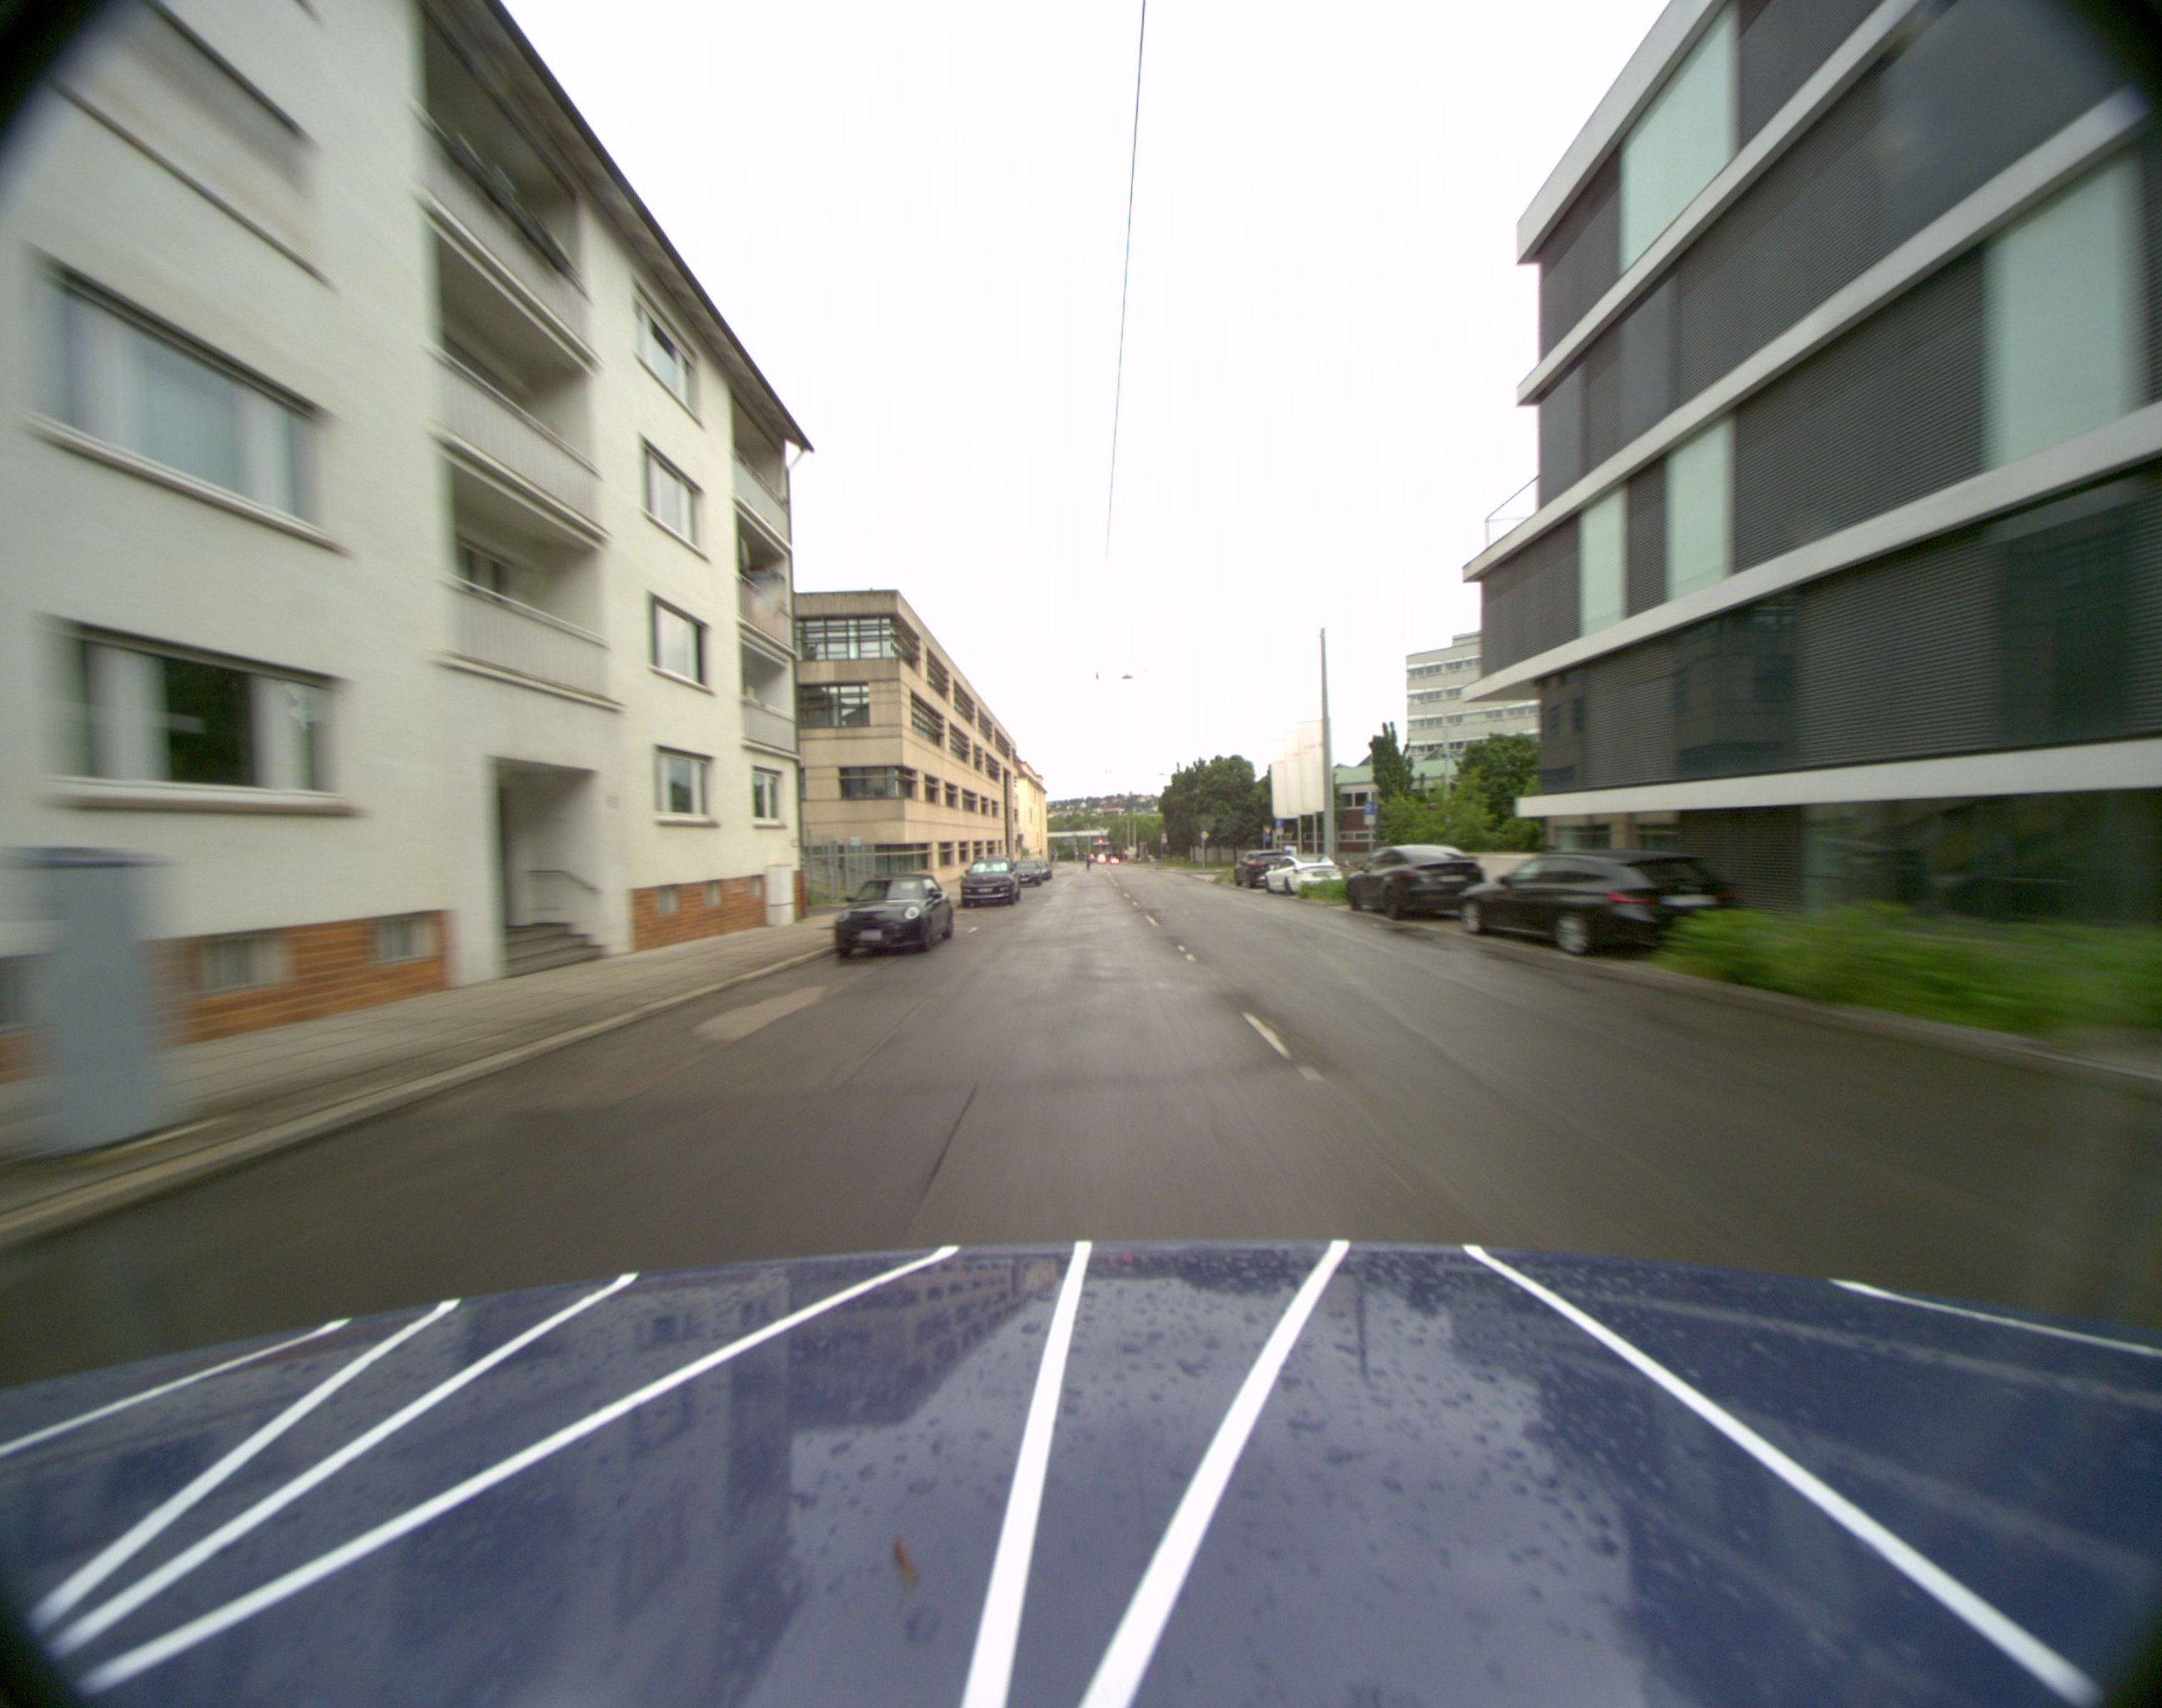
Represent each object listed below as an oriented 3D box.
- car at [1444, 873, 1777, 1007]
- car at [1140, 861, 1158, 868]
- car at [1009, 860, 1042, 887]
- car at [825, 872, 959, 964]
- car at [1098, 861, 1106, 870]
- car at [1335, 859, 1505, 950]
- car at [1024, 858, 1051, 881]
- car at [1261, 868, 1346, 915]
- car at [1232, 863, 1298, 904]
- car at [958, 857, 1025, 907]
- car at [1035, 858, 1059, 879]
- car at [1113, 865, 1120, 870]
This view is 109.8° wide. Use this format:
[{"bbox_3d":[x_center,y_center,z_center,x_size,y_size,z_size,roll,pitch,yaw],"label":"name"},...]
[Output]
[{"bbox_3d":[7.694,1.132,11.784,1.876,1.464,4.740,-2,0,1],"label":"car"},{"bbox_3d":[16.787,2.610,186.957,1.872,1.600,4.515,-2,0,-33],"label":"car"},{"bbox_3d":[-3.358,1.164,46.748,1.748,1.524,4.319,-1,0,-1],"label":"car"},{"bbox_3d":[-3.624,1.176,15.225,1.677,1.451,3.764,-2,0,0],"label":"car"},{"bbox_3d":[6.102,3.405,217.176,1.988,2.514,5.631,0,0,-1],"label":"car"},{"bbox_3d":[7.683,1.043,17.865,1.967,1.740,4.942,-2,0,3],"label":"car"},{"bbox_3d":[-3.248,1.150,57.936,1.730,1.503,4.057,-3,1,0],"label":"car"},{"bbox_3d":[7.983,1.306,27.638,1.825,1.410,4.402,-2,0,1],"label":"car"},{"bbox_3d":[8.177,1.272,34.162,1.854,1.608,4.491,-2,0,1],"label":"car"},{"bbox_3d":[-3.417,1.026,29.925,1.940,1.740,4.796,-2,0,1],"label":"car"},{"bbox_3d":[-2.803,1.170,62.652,1.775,1.594,4.394,-2,0,-1],"label":"car"},{"bbox_3d":[9.475,3.601,202.662,1.886,1.482,5.221,1,0,3],"label":"car"}]
